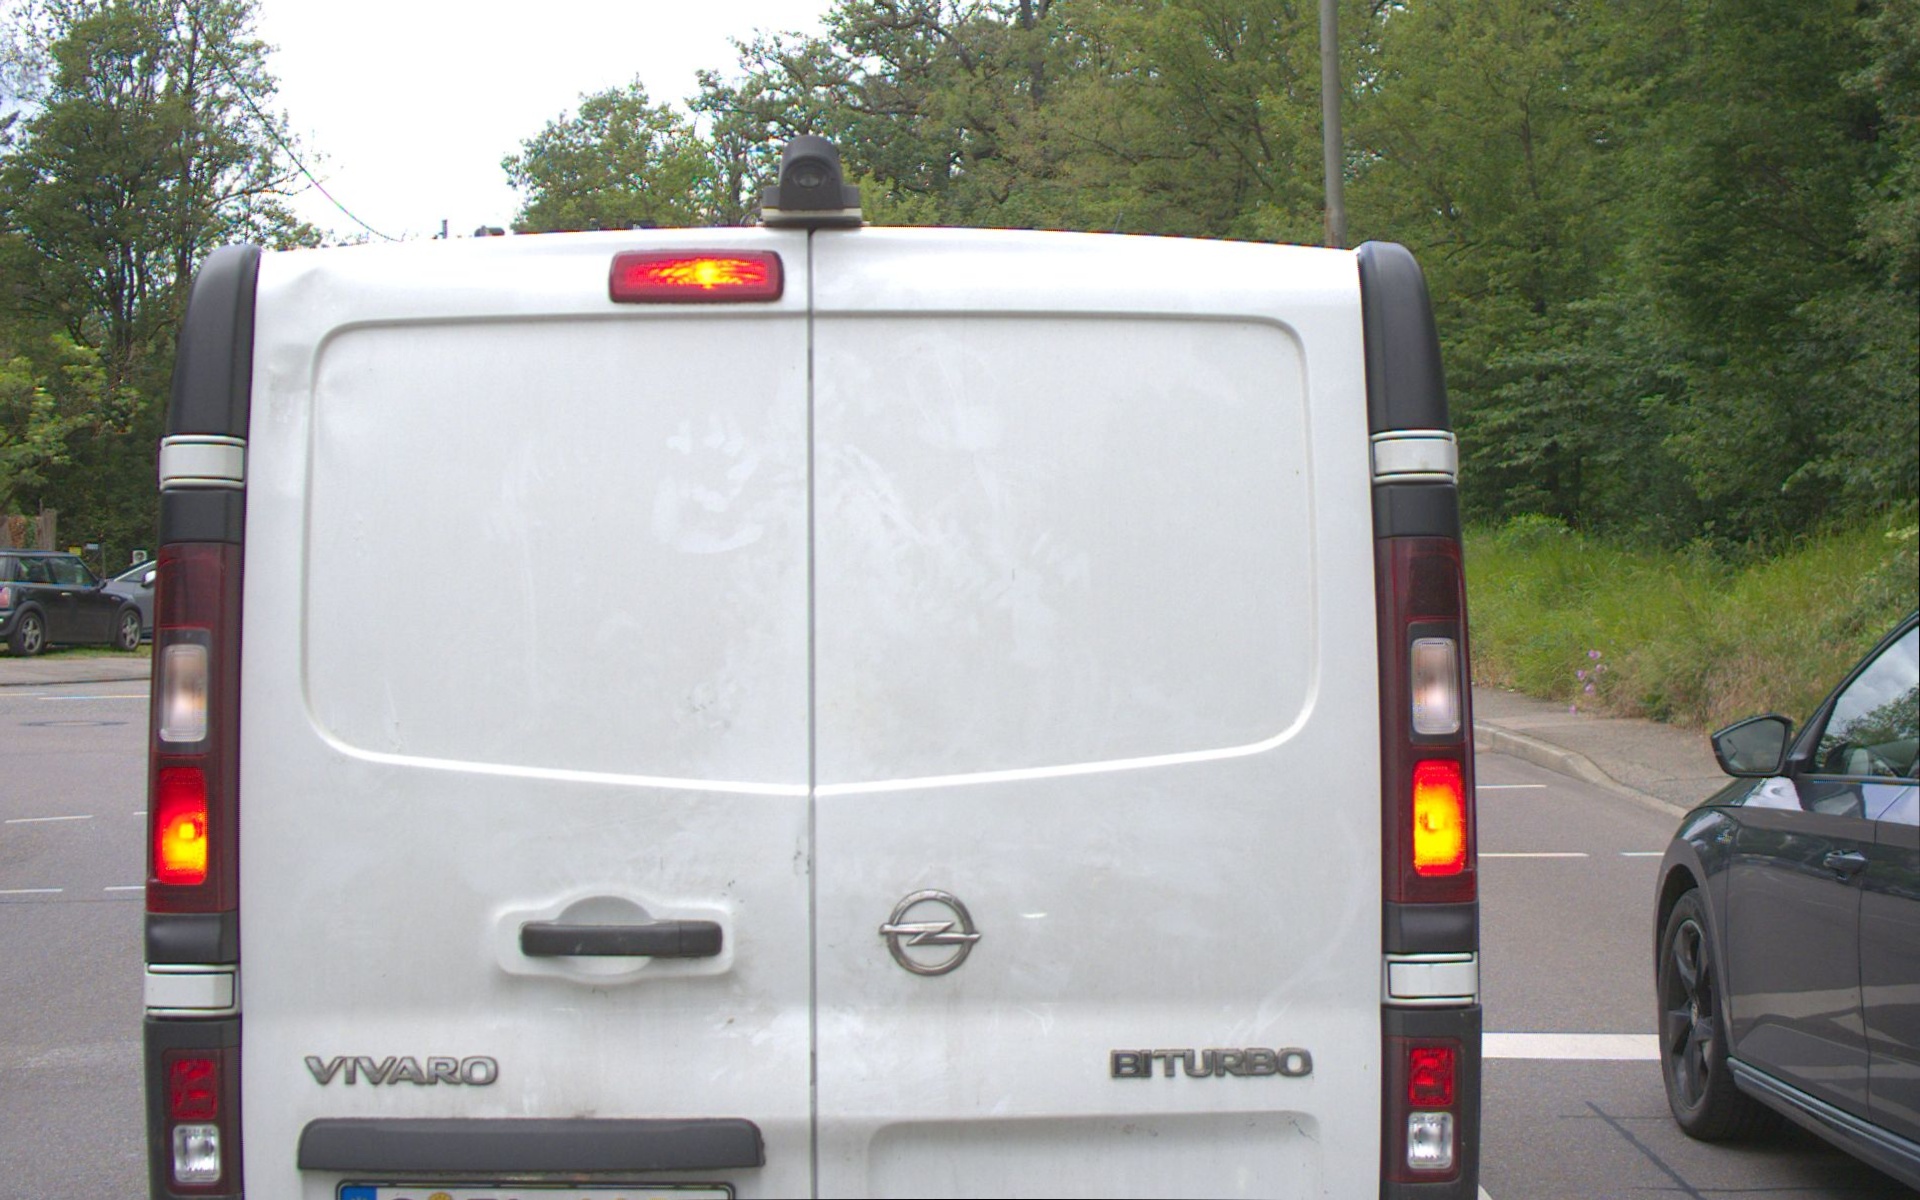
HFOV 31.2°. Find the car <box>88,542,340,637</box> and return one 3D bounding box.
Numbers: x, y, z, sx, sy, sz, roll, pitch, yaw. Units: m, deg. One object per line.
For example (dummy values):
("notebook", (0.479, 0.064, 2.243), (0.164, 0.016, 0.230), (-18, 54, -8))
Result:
("car", (-12.880, -0.193, 59.287), (4.085, 1.548, 1.855), (-1, 2, -17))

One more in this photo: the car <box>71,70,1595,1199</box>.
("car", (-0.273, 0.325, 6.703), (1.916, 2.046, 4.615), (1, 1, -3))

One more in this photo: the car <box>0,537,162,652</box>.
("car", (-12.413, -0.099, 46.019), (1.699, 1.444, 3.540), (2, 1, 19))

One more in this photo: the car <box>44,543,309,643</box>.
("car", (-12.834, -0.136, 56.269), (4.085, 1.548, 1.855), (-1, 2, -17))

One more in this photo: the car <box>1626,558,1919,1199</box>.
("car", (2.704, 0.654, 7.036), (1.792, 1.445, 4.001), (0, 1, -2))
